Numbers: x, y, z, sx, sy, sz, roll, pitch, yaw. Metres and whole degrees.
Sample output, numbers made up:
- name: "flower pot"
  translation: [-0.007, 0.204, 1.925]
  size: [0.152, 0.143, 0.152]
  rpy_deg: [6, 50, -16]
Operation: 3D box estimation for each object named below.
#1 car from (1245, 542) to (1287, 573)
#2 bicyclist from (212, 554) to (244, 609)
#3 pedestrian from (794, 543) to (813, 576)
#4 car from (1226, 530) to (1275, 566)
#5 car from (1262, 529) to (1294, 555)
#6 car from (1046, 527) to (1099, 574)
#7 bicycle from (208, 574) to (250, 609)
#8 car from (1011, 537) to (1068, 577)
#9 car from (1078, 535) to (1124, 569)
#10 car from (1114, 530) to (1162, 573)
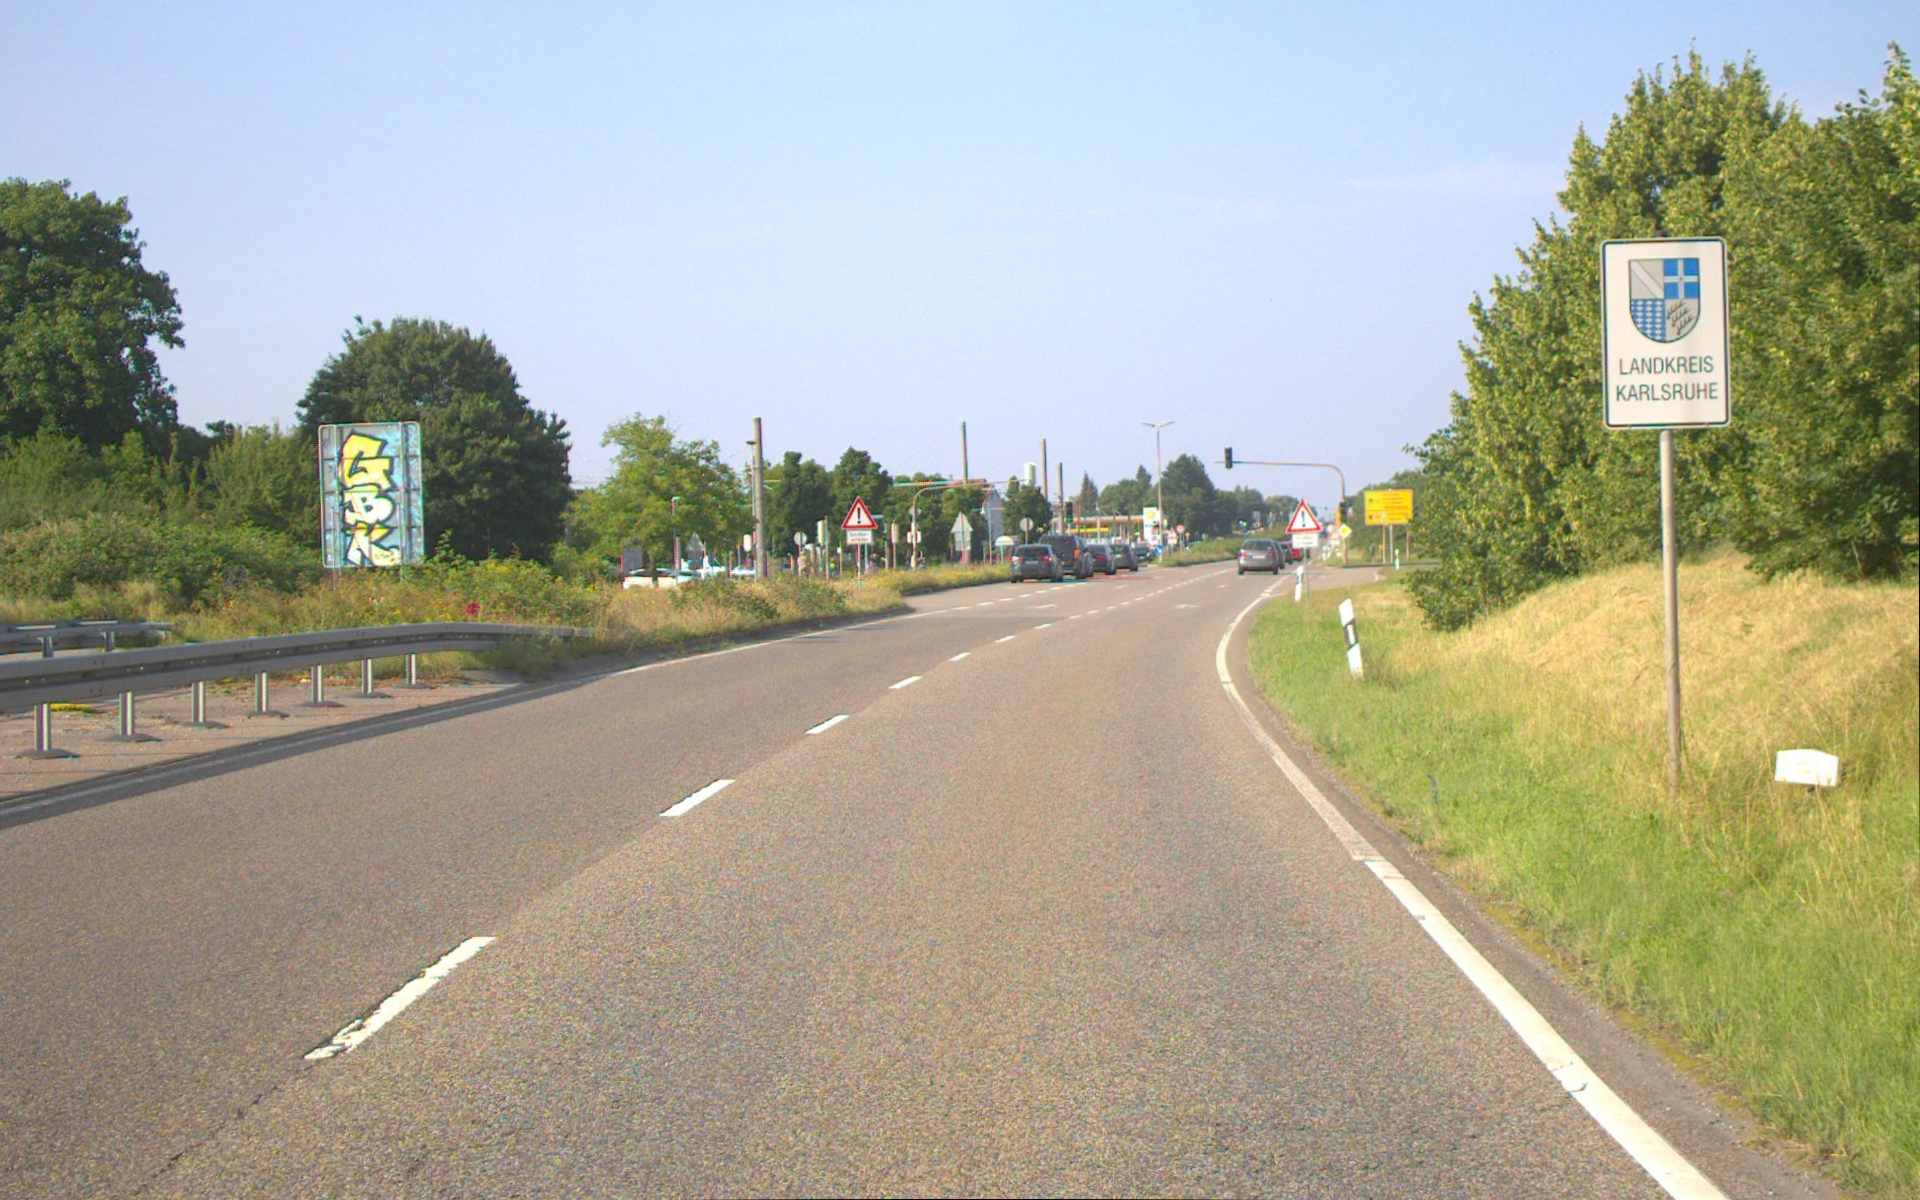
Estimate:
- name: "car"
  translation: [15.878, -2.210, 178.380]
  size: [1.994, 1.546, 3.999]
  rpy_deg: [-1, 1, 7]
- name: "bicyclist"
  translation: [-18.994, -0.485, 89.238]
  size: [0.467, 1.385, 1.047]
  rpy_deg: [-1, 1, 6]
- name: "pedestrian"
  translation: [-8.156, -2.105, 178.999]
  size: [0.915, 1.700, 1.067]
  rpy_deg: [1, 0, 1]
- name: "car"
  translation: [13.065, -2.349, 154.362]
  size: [1.994, 1.546, 3.999]
  rpy_deg: [-1, 1, 7]
- name: "car"
  translation: [21.087, -3.850, 227.724]
  size: [1.994, 1.590, 3.999]
  rpy_deg: [-2, 1, 7]
- name: "car"
  translation: [4.573, -2.014, 139.470]
  size: [1.732, 1.849, 4.519]
  rpy_deg: [-1, 1, 7]
- name: "bicycle"
  translation: [-18.968, -0.222, 89.228]
  size: [0.530, 0.875, 1.704]
  rpy_deg: [-1, 1, 6]
- name: "car"
  translation: [3.099, -1.668, 132.471]
  size: [1.732, 1.451, 4.519]
  rpy_deg: [-1, 1, 7]
- name: "car"
  translation: [6.434, -2.200, 156.749]
  size: [1.770, 1.466, 4.014]
  rpy_deg: [-1, 1, 7]
- name: "car"
  translation: [9.053, -2.451, 174.404]
  size: [1.994, 2.007, 4.835]
  rpy_deg: [-1, -1, 8]
